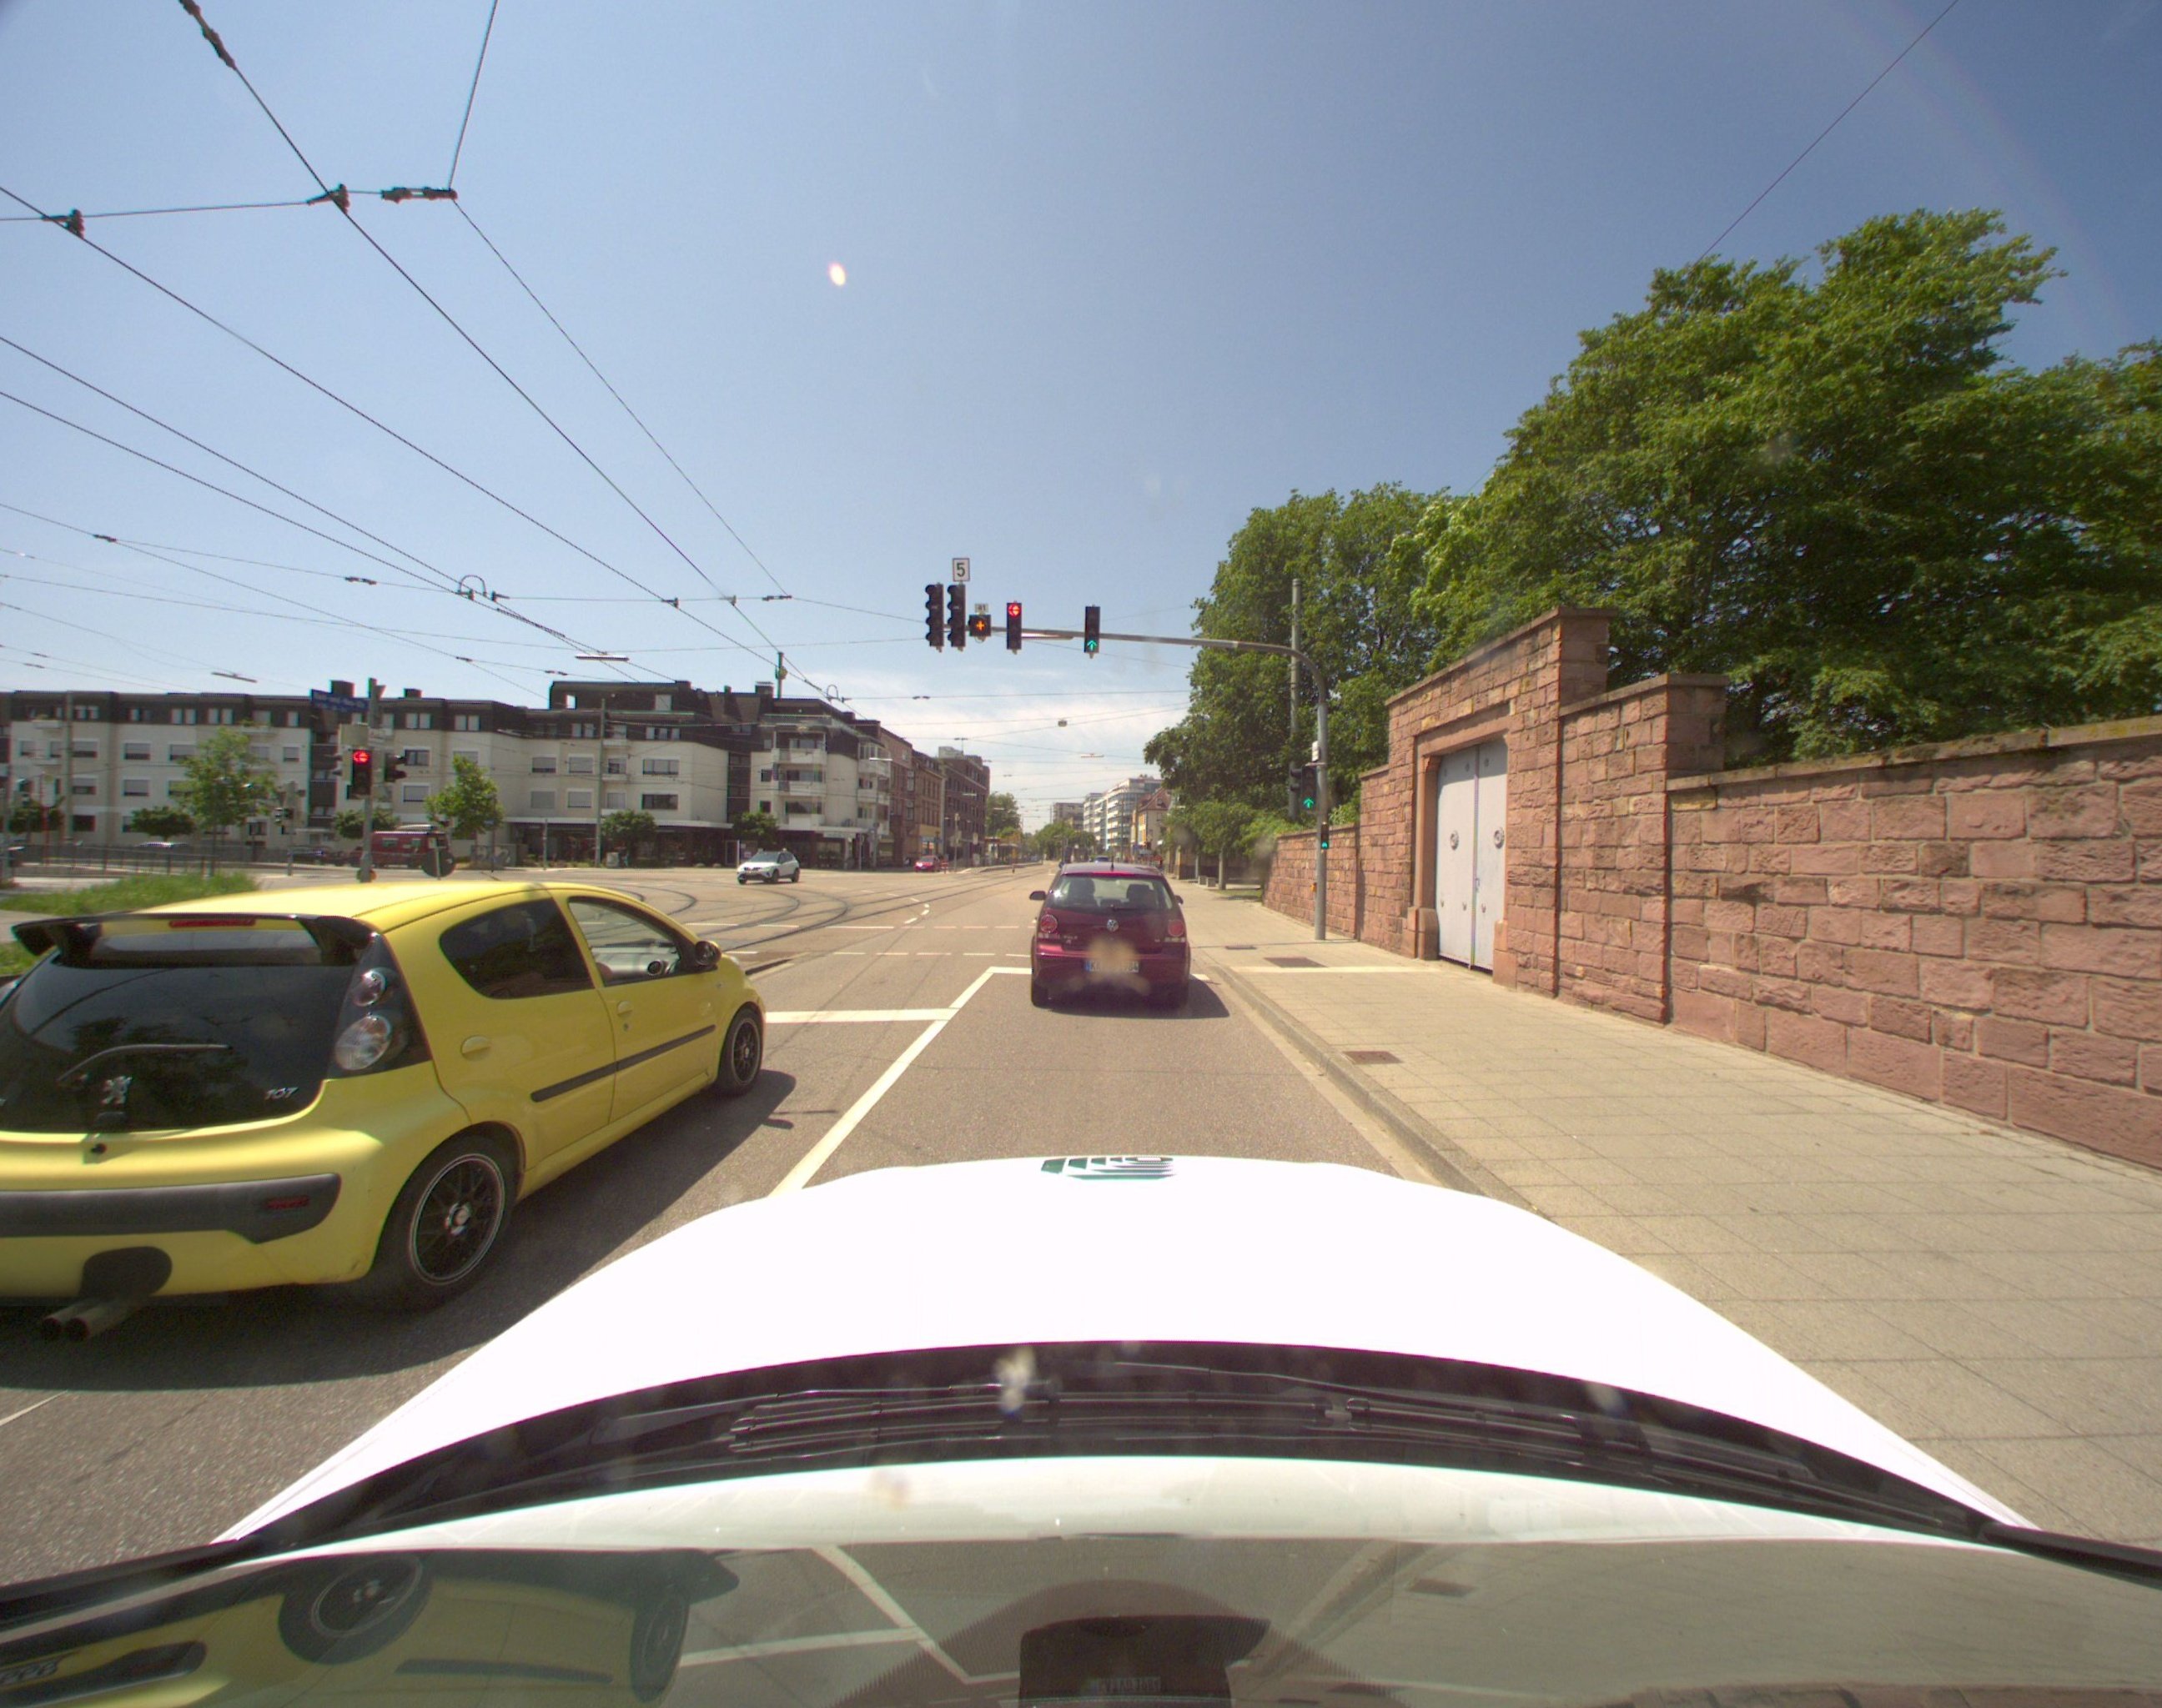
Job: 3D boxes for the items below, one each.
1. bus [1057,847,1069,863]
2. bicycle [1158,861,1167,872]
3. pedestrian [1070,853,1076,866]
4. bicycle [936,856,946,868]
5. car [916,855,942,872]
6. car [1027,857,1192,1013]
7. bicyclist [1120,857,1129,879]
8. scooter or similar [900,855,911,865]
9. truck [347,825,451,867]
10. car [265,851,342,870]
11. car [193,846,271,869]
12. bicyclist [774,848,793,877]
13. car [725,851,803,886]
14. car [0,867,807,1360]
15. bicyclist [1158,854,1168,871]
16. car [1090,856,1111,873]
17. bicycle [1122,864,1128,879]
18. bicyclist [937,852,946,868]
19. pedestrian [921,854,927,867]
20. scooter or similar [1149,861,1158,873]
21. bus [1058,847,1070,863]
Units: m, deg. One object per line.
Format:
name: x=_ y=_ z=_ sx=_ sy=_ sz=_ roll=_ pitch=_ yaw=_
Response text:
bus: x=-3.333 y=0.153 z=155.504 sx=2.138 sy=3.003 sz=6.572 roll=1 pitch=0 yaw=0
bicycle: x=7.942 y=1.178 z=79.645 sx=0.666 sy=1.002 sz=1.864 roll=-3 pitch=0 yaw=1
pedestrian: x=-1.064 y=0.767 z=106.113 sx=0.760 sy=1.674 sz=1.101 roll=1 pitch=-1 yaw=2
bicycle: x=-16.002 y=0.886 z=93.044 sx=0.674 sy=1.304 sz=2.105 roll=1 pitch=0 yaw=1
car: x=-13.948 y=0.876 z=74.944 sx=1.618 sy=1.484 sz=3.829 roll=1 pitch=0 yaw=0
car: x=0.297 y=0.779 z=9.271 sx=1.556 sy=1.453 sz=3.062 roll=1 pitch=0 yaw=1
bicyclist: x=3.707 y=1.178 z=69.036 sx=0.724 sy=1.760 sz=0.924 roll=1 pitch=0 yaw=1
scooter or similar: x=-19.886 y=0.671 z=92.422 sx=0.484 sy=1.082 sz=1.584 roll=1 pitch=0 yaw=18
truck: x=-45.163 y=-0.513 z=54.013 sx=5.007 sy=2.698 sz=2.188 roll=1 pitch=0 yaw=1
car: x=-51.220 y=0.424 z=53.660 sx=3.555 sy=1.219 sz=1.591 roll=1 pitch=0 yaw=2
car: x=-56.511 y=0.217 z=54.223 sx=3.555 sy=1.433 sz=1.591 roll=1 pitch=0 yaw=2
bicyclist: x=-18.738 y=0.534 z=51.305 sx=0.692 sy=1.765 sz=1.137 roll=1 pitch=0 yaw=1
car: x=-15.227 y=0.671 z=39.394 sx=1.986 sy=1.553 sz=4.141 roll=1 pitch=0 yaw=2
car: x=-2.898 y=0.805 z=4.256 sx=1.610 sy=1.421 sz=3.656 roll=-1 pitch=-1 yaw=1
bicyclist: x=8.003 y=0.873 z=79.671 sx=0.829 sy=1.618 sz=0.860 roll=-3 pitch=0 yaw=1
car: x=1.938 y=0.983 z=81.476 sx=1.986 sy=1.624 sz=4.633 roll=1 pitch=0 yaw=1
bicycle: x=3.723 y=1.469 z=68.866 sx=0.374 sy=1.197 sz=1.905 roll=1 pitch=0 yaw=1
bicyclist: x=-15.968 y=0.651 z=93.166 sx=0.729 sy=1.762 sz=1.135 roll=1 pitch=0 yaw=1
pedestrian: x=-18.044 y=0.747 z=93.551 sx=0.612 sy=1.560 sz=0.640 roll=1 pitch=0 yaw=1
scooter or similar: x=7.453 y=1.302 z=83.723 sx=0.340 sy=1.178 sz=1.457 roll=1 pitch=-1 yaw=-22
bus: x=-3.445 y=0.219 z=162.063 sx=2.227 sy=3.003 sz=6.589 roll=1 pitch=0 yaw=-2
